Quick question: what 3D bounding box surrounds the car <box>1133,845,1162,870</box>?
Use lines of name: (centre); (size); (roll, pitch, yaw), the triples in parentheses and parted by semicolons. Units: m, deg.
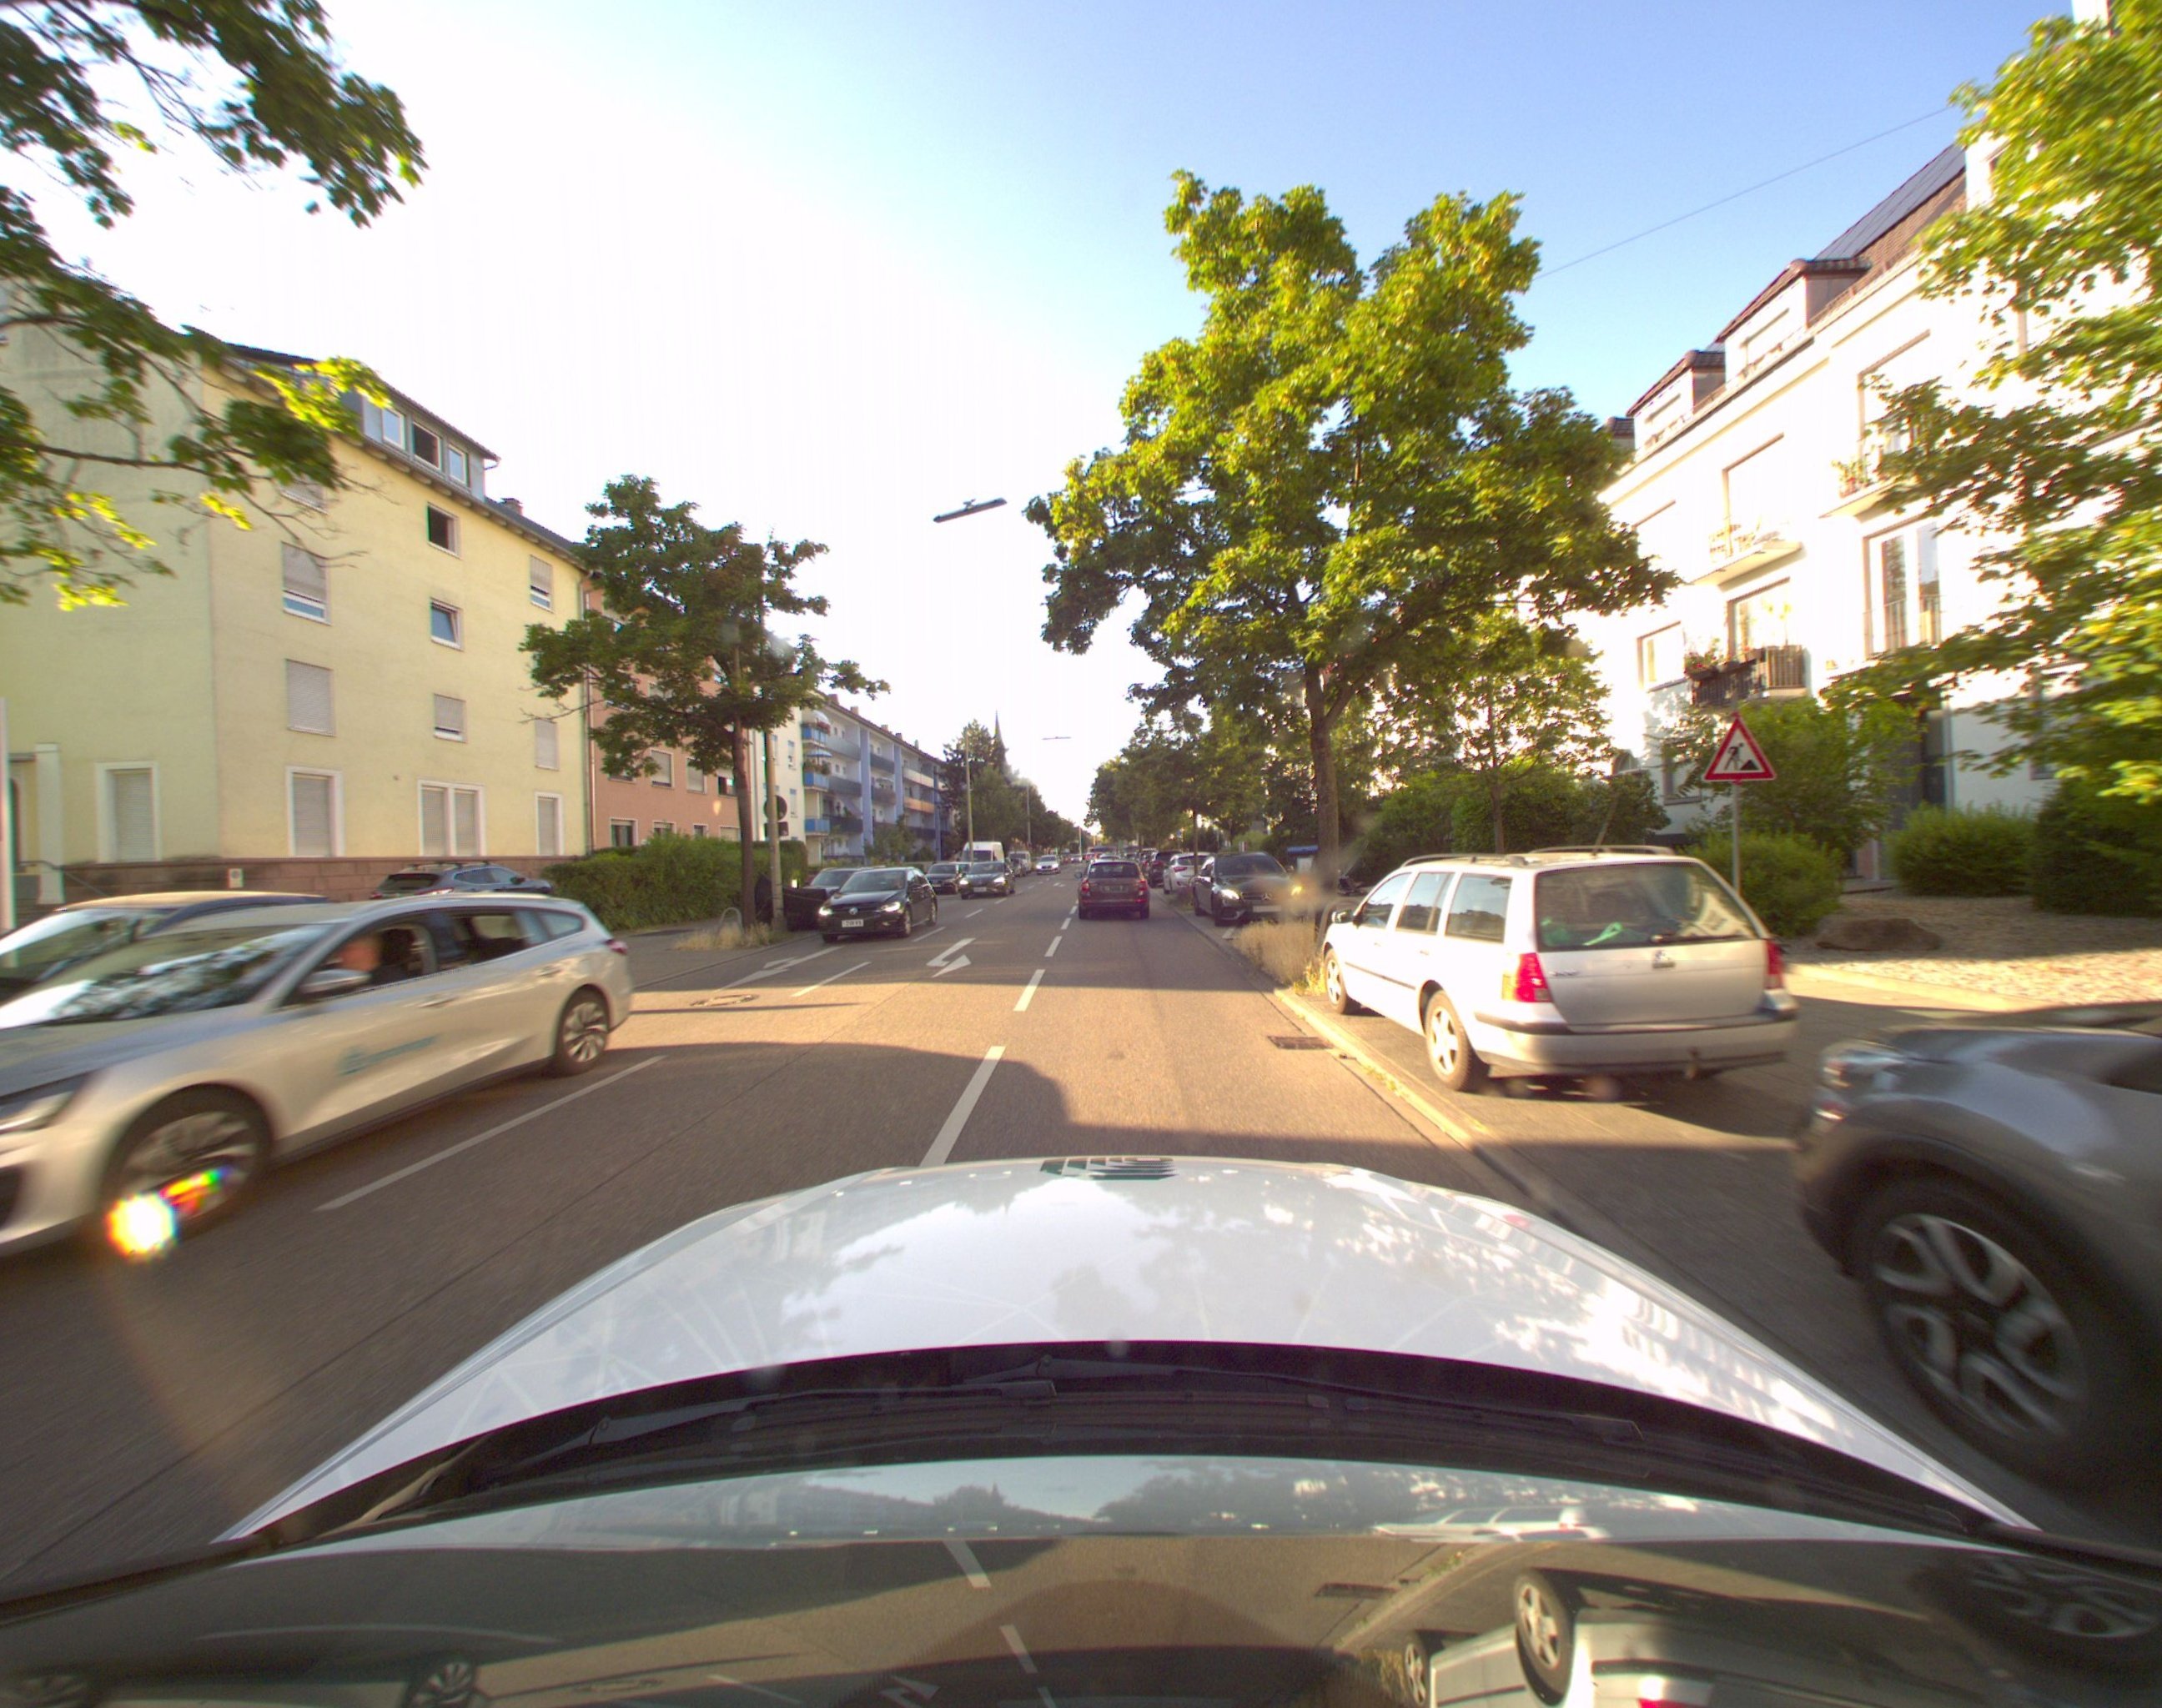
car: (5.088, 0.235, 62.630); (1.795, 1.808, 4.422); (-1, 0, -1)

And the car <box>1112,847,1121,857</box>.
car: (6.541, -0.455, 149.953); (1.747, 1.806, 4.002); (-1, 0, 2)

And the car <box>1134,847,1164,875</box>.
car: (4.401, 0.425, 53.453); (1.747, 1.662, 4.256); (-3, 0, 3)

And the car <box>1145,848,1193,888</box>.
car: (3.862, 0.581, 36.269); (1.712, 1.601, 4.097); (-2, 0, 1)

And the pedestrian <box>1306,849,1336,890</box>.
pedestrian: (7.412, 0.474, 25.191); (0.670, 1.234, 0.791); (-2, -1, 2)

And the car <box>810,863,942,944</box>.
car: (-4.339, 0.985, 17.864); (1.694, 1.403, 4.029); (-4, 0, 1)

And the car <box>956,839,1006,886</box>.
car: (-5.934, 0.459, 49.382); (1.986, 2.616, 7.106); (-1, 0, 1)

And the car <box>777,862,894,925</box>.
car: (-6.803, 1.022, 23.134); (1.772, 1.505, 4.590); (-2, 0, 1)

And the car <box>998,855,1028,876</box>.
car: (-5.284, 0.896, 64.151); (1.685, 1.483, 4.148); (-2, 0, 4)

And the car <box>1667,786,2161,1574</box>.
car: (2.902, 0.607, 0.914); (1.630, 1.568, 4.002); (-3, 0, 2)

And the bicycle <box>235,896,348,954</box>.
bicycle: (-17.486, 1.548, 18.108); (0.483, 1.089, 2.001); (-2, 0, 2)

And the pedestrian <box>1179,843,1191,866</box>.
pedestrian: (8.559, 0.030, 67.235); (0.793, 1.861, 0.954); (-3, 0, 12)

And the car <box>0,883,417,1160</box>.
car: (-7.370, 1.125, 6.568); (1.492, 1.616, 2.865); (-2, 0, 5)

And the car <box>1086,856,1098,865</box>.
car: (1.786, 1.022, 134.172); (1.776, 1.480, 3.968); (-1, 0, -2)

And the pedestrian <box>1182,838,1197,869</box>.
pedestrian: (6.003, -0.019, 45.162); (0.784, 1.700, 0.809); (-2, -1, 6)

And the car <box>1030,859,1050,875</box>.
car: (-4.156, 1.301, 82.708); (1.611, 1.480, 3.875); (-1, 0, 4)

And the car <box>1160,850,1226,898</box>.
car: (3.830, 0.647, 28.534); (1.712, 1.494, 4.394); (-2, 0, 0)

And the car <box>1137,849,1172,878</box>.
car: (4.149, 0.501, 46.430); (1.607, 1.466, 3.960); (-3, 0, 1)

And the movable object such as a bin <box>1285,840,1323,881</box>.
movable object such as a bin: (8.794, 0.246, 32.119); (1.259, 1.492, 1.143); (-5, 0, 11)

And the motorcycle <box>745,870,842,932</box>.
motorcycle: (-6.864, 1.093, 19.456); (2.034, 1.389, 0.981); (0, -1, -31)

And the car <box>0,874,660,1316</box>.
car: (-4.797, 0.998, 5.076); (1.825, 1.470, 4.452); (-5, 0, 1)

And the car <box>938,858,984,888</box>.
car: (-6.277, 0.971, 43.082); (1.700, 1.492, 4.060); (0, 0, 2)

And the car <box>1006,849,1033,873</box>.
car: (-5.394, 0.573, 72.537); (1.862, 2.031, 5.301); (-1, 0, 1)

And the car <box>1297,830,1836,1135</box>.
car: (3.094, 0.661, 6.424); (1.631, 1.490, 4.416); (-3, 0, 1)

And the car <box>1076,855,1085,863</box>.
car: (-0.092, 1.211, 198.258); (1.990, 1.750, 3.995); (-2, 0, -4)

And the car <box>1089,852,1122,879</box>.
car: (1.480, 0.705, 49.164); (1.885, 1.506, 3.790); (1, -1, 1)

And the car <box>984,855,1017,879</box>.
car: (-5.759, 0.891, 58.771); (1.665, 1.543, 4.477); (-2, 0, 3)

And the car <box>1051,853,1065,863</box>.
car: (-3.658, 0.587, 128.493); (1.773, 1.480, 3.975); (-1, 0, 4)

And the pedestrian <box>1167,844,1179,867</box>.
pedestrian: (7.634, 0.099, 67.649); (0.746, 1.861, 1.068); (-3, 0, 1)

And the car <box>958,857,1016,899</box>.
car: (-3.713, 0.906, 32.876); (1.694, 1.470, 4.295); (-3, 0, 1)

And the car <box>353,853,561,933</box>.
car: (-14.711, 0.853, 19.539); (1.821, 1.683, 4.001); (-2, 0, 1)

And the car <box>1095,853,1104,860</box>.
car: (4.156, 0.579, 185.644); (1.641, 1.599, 3.645); (-2, 0, -4)

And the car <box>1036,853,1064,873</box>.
car: (-2.546, 0.739, 67.303); (1.872, 1.543, 4.271); (-2, 0, 3)

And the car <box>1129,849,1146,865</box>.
car: (5.873, 0.304, 85.407); (1.747, 1.686, 4.256); (-1, 0, 3)

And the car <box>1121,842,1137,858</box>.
car: (6.018, -0.532, 101.859); (1.908, 1.860, 5.638); (-2, 0, 3)

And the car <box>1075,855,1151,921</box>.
car: (0.857, 0.780, 20.812); (1.747, 1.492, 4.003); (-1, 0, 3)

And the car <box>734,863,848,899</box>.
car: (-11.983, 1.099, 33.835); (3.972, 1.413, 1.917); (0, 0, 1)

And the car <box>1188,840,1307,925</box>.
car: (3.601, 0.554, 18.448); (1.866, 1.581, 4.824); (-4, 0, 3)

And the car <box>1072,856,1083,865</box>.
car: (-0.539, 1.140, 139.495); (1.774, 1.494, 3.973); (1, 0, 2)

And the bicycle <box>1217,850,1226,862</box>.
bicycle: (11.895, 0.170, 68.974); (0.473, 0.944, 1.680); (-3, 0, 1)

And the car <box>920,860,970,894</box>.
car: (-6.301, 1.048, 38.116); (1.606, 1.473, 3.814); (0, 0, 1)
